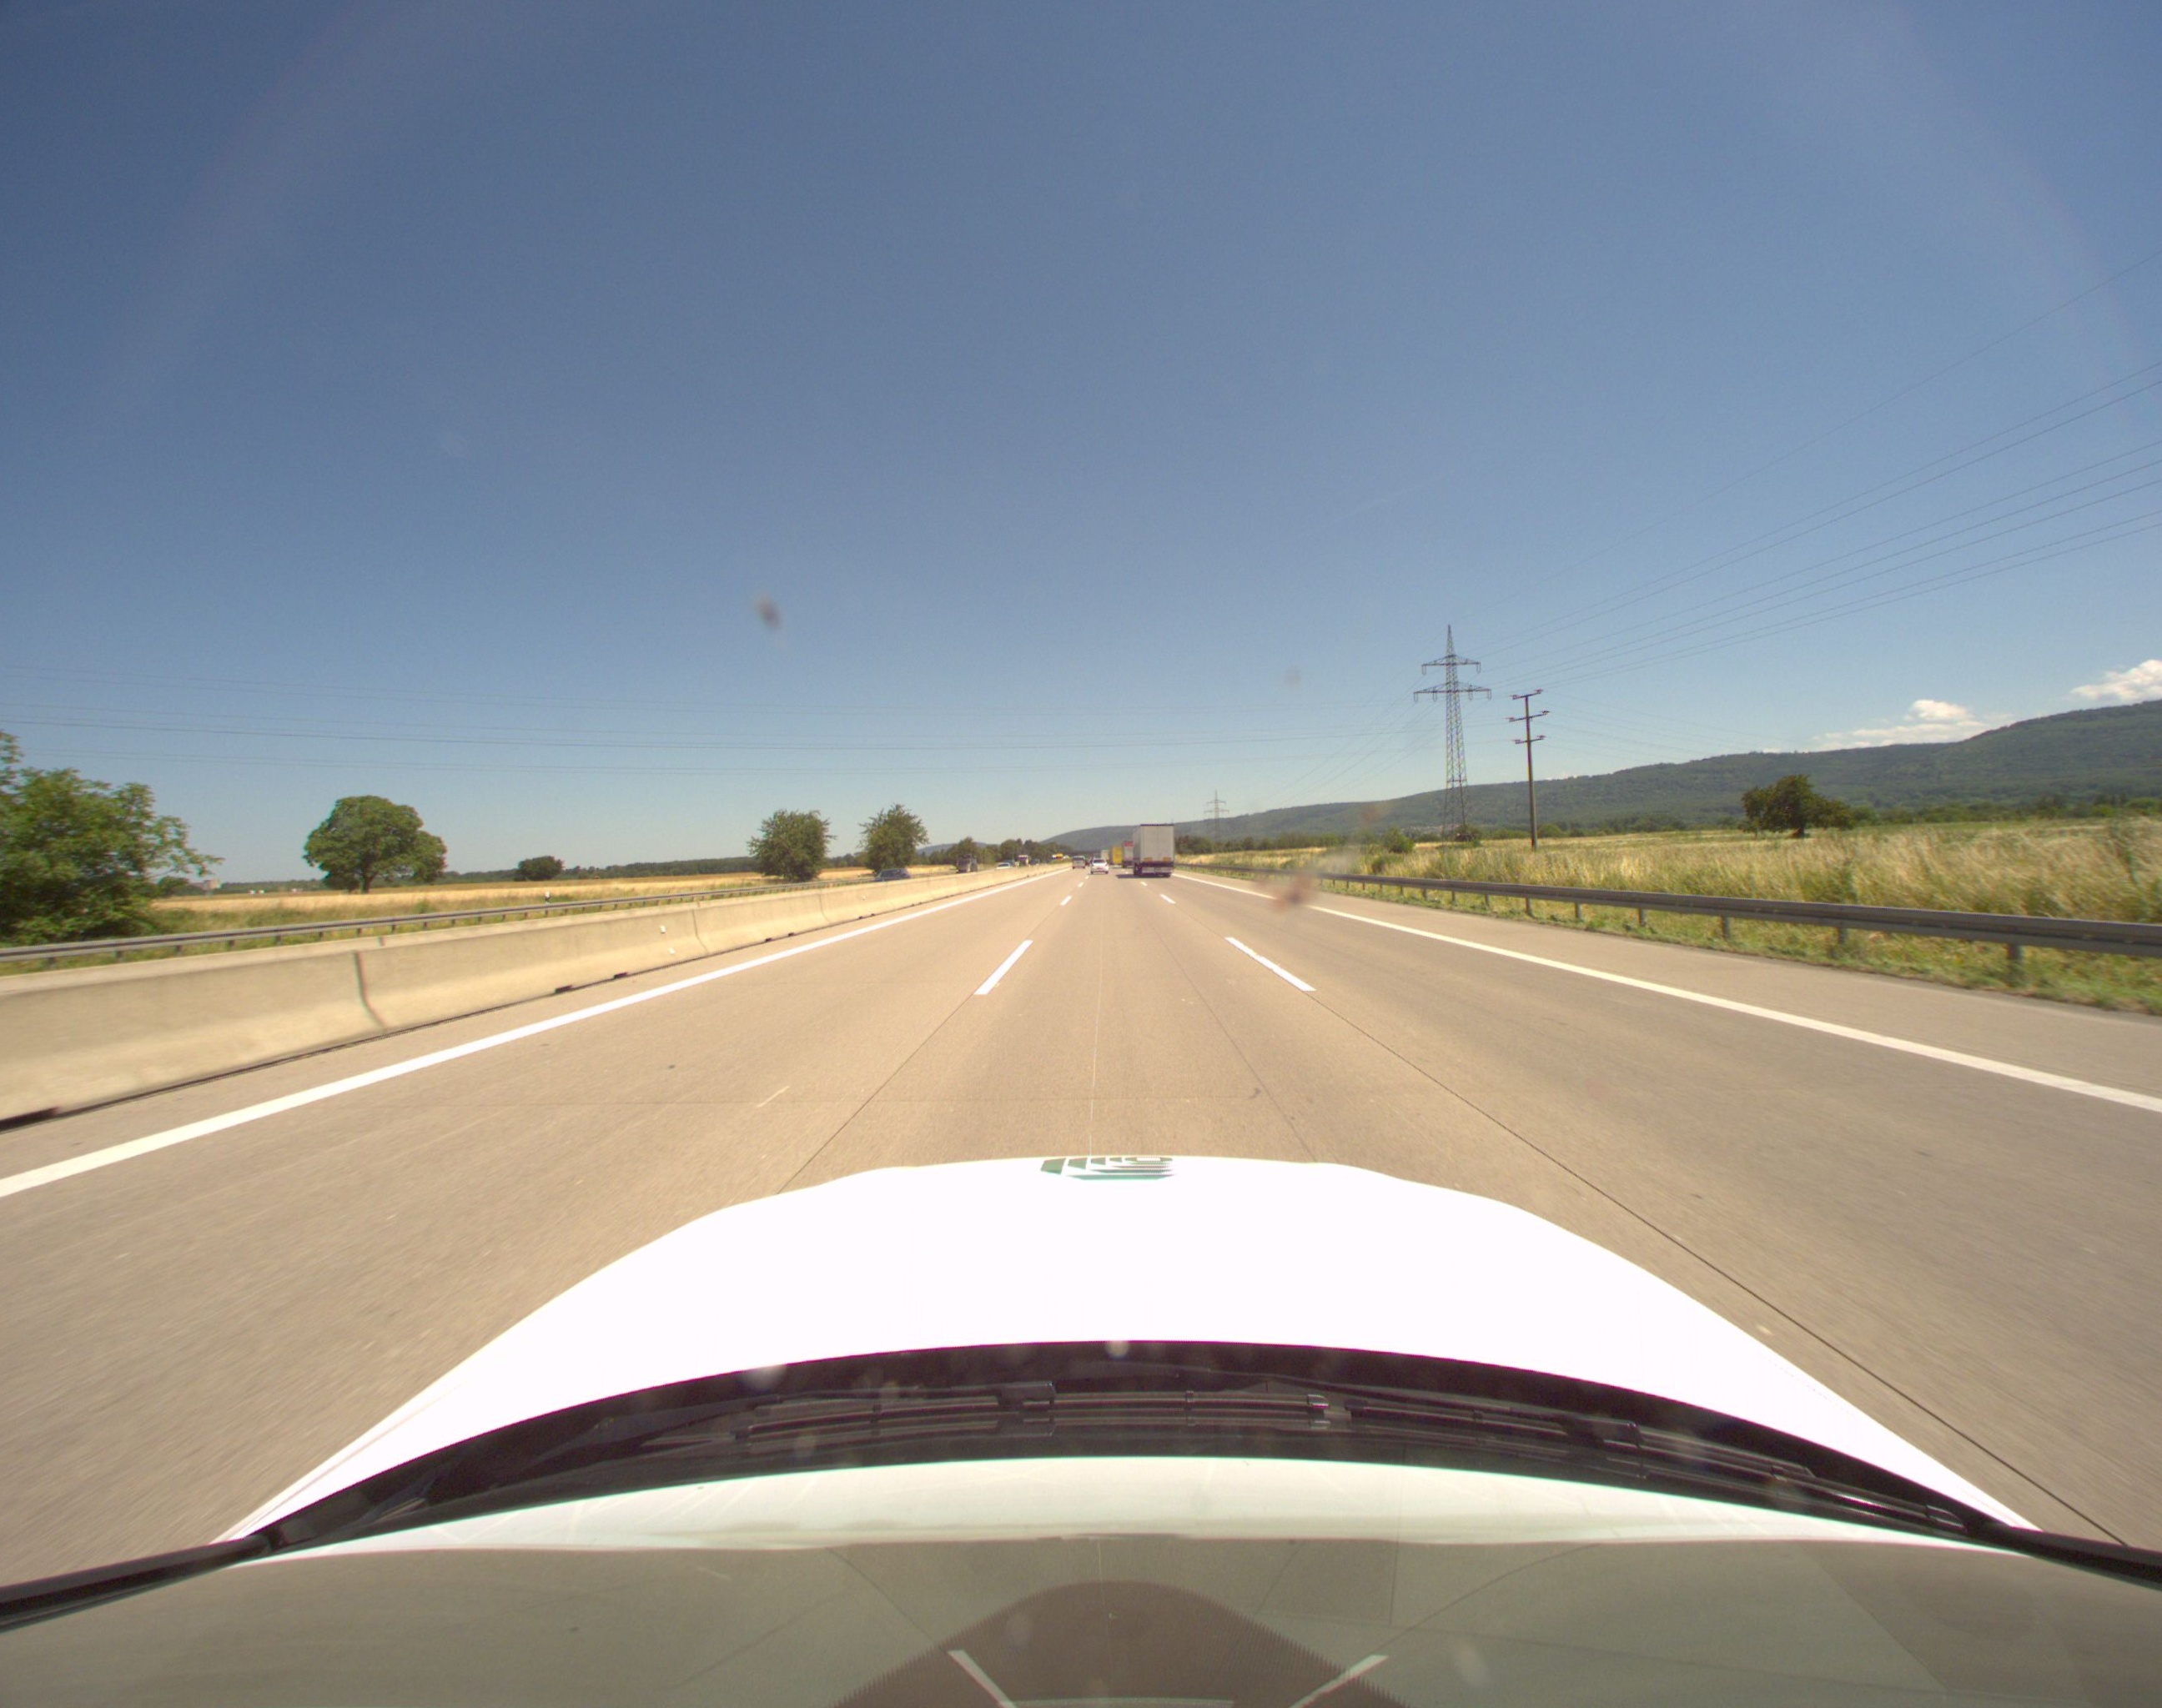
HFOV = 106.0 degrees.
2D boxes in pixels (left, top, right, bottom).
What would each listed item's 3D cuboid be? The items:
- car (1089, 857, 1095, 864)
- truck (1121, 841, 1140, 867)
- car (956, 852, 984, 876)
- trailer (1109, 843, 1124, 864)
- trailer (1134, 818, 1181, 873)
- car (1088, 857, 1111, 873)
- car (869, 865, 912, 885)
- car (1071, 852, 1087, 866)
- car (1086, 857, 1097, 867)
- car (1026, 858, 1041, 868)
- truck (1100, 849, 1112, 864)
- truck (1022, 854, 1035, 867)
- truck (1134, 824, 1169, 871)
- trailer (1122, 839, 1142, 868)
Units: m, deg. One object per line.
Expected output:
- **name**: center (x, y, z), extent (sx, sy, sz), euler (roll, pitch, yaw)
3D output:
- **car**: center (3.315, 1.920, 239.115), extent (1.777, 1.881, 4.002), euler (0, 0, 2)
- **truck**: center (7.959, -0.011, 130.592), extent (2.894, 4.101, 6.275), euler (0, 0, 2)
- **car**: center (-13.507, 1.225, 99.634), extent (2.239, 2.786, 6.796), euler (0, 0, 3)
- **trailer**: center (8.104, -0.133, 185.671), extent (3.204, 4.564, 13.462), euler (0, 0, 2)
- **trailer**: center (6.103, -0.586, 67.048), extent (3.006, 4.061, 14.213), euler (0, 0, 2)
- **car**: center (1.843, 1.045, 80.195), extent (2.098, 1.536, 4.125), euler (0, 0, 3)
- **car**: center (-11.194, 1.233, 48.048), extent (1.515, 1.053, 3.526), euler (0, 0, 3)
- **car**: center (-0.241, 0.749, 124.833), extent (2.246, 2.014, 4.300), euler (0, 0, 2)
- **car**: center (1.996, 1.507, 156.500), extent (1.986, 1.957, 4.002), euler (0, 0, 2)
- **car**: center (-8.373, 1.584, 143.464), extent (1.985, 1.826, 5.829), euler (0, 0, 3)
- **truck**: center (7.374, 0.755, 242.099), extent (3.340, 4.272, 8.232), euler (0, 0, 2)
- **truck**: center (-13.406, 1.583, 209.825), extent (2.796, 3.305, 5.615), euler (0, 0, 1)
- **truck**: center (6.389, -0.566, 74.504), extent (2.973, 4.062, 5.480), euler (0, 0, 2)
- **trailer**: center (7.688, -0.038, 124.293), extent (2.862, 4.101, 13.520), euler (0, 0, 3)
